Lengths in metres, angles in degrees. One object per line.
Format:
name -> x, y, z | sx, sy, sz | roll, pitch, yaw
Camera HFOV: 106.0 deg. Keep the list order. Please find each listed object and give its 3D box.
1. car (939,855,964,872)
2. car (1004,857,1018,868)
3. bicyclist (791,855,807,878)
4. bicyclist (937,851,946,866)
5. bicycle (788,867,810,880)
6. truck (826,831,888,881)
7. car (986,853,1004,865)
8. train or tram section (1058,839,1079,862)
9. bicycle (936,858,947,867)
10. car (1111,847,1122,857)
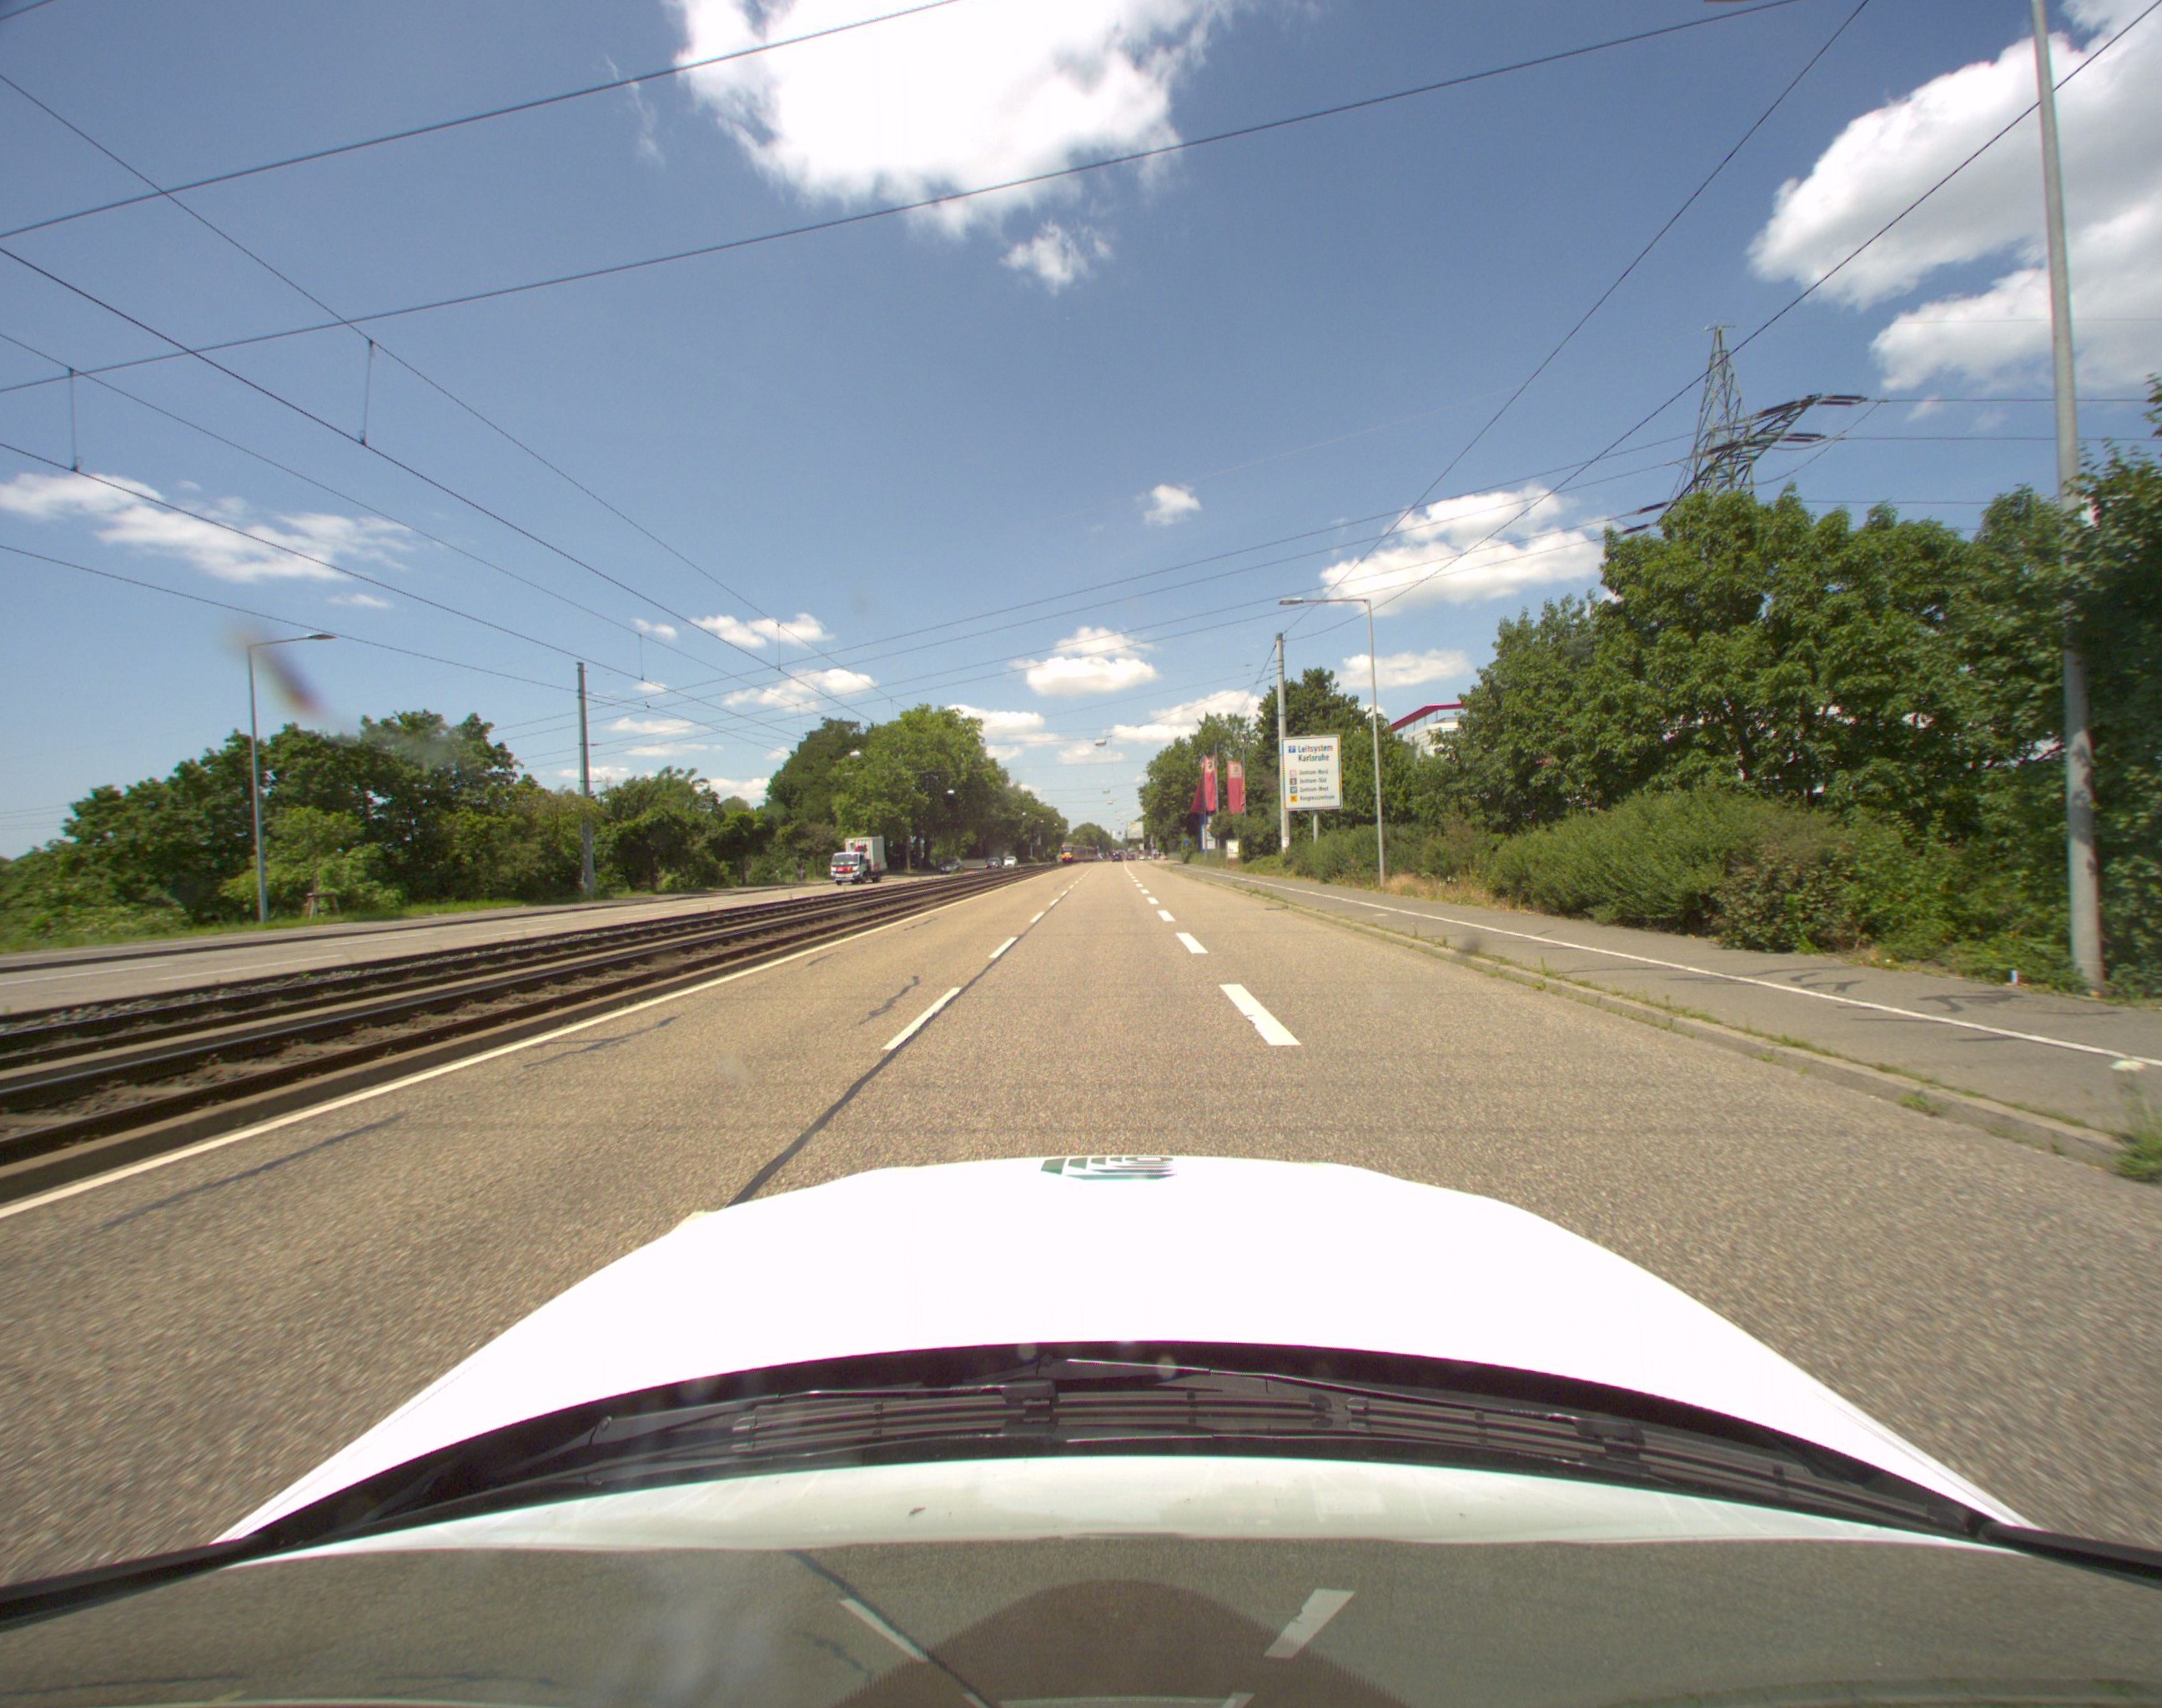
car -> -12.800, 0.896, 80.699 | 1.746, 1.535, 3.958 | -2, 0, 1
car -> -10.692, 1.275, 123.995 | 1.631, 1.436, 3.722 | -3, 0, 1
bicyclist -> -19.717, 0.881, 56.964 | 0.647, 1.620, 1.157 | 0, 0, 6
bicyclist -> -15.703, 0.494, 91.637 | 0.619, 1.617, 1.064 | 1, 0, 8
bicycle -> -19.716, 1.359, 56.989 | 0.647, 0.859, 2.124 | 0, 0, 6
truck -> -15.599, 0.127, 57.044 | 2.240, 3.236, 6.047 | -2, 0, 4
car -> -11.208, 0.625, 106.387 | 1.630, 1.421, 4.130 | -2, 0, 3
train or tram section -> -2.347, -0.601, 160.102 | 3.035, 4.267, 15.436 | -2, 0, 3
bicycle -> -15.704, 0.969, 91.684 | 0.619, 0.979, 2.059 | 1, 0, 8
car -> 6.360, -0.403, 146.212 | 1.892, 1.805, 3.978 | 0, 0, 2
